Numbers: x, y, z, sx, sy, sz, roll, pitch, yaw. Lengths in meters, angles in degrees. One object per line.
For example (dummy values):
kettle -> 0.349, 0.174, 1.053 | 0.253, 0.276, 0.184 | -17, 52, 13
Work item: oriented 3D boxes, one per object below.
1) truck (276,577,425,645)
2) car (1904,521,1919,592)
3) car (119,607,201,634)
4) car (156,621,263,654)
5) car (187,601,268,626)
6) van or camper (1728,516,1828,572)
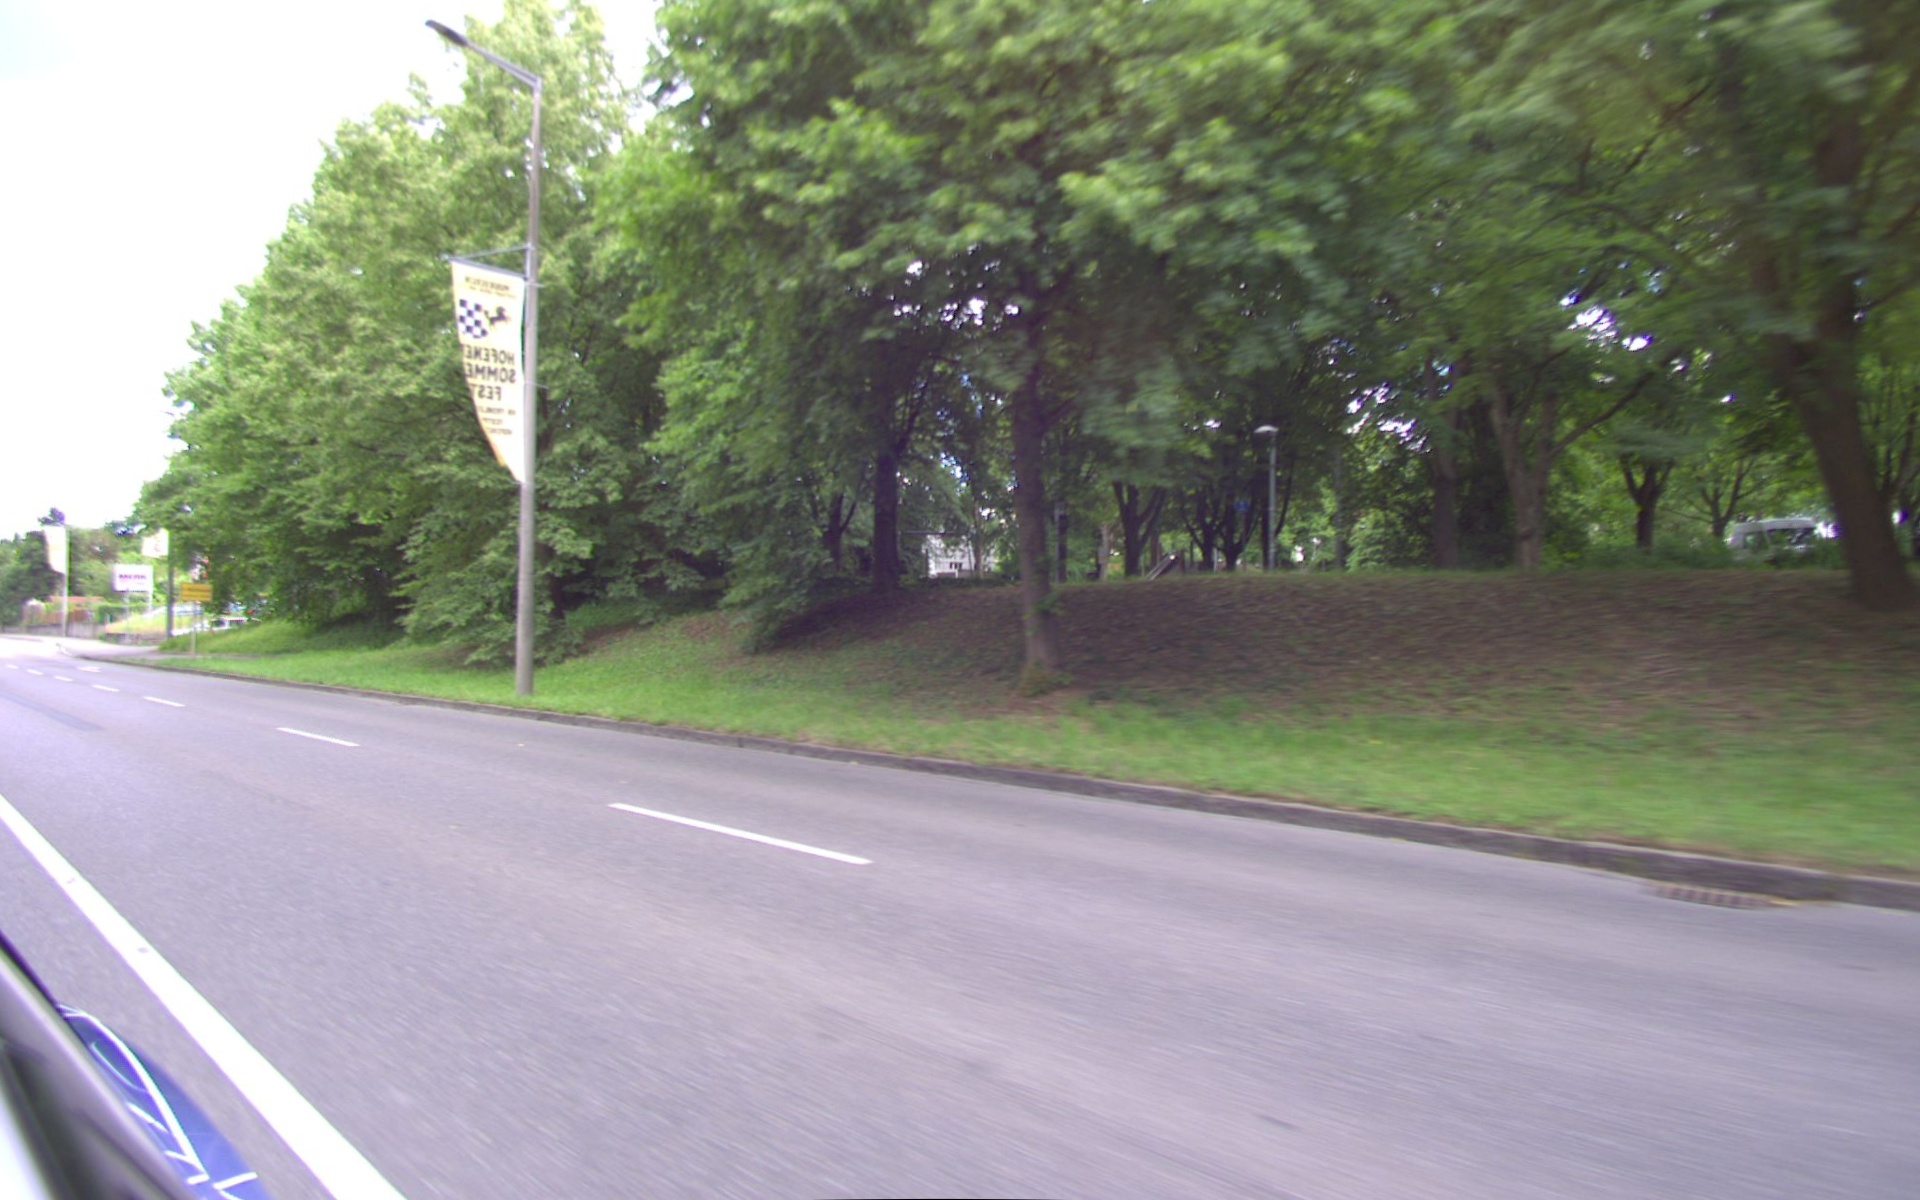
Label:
truck -> -34.734, 0.595, 57.889 | 2.657, 3.657, 6.835 | -1, 0, 41
car -> 26.486, -1.191, 25.348 | 1.981, 1.910, 4.883 | -1, 0, 14
car -> -51.572, 1.333, 65.296 | 1.878, 1.630, 3.855 | -1, 0, 41
car -> -38.968, 1.925, 52.609 | 1.746, 1.503, 4.169 | -3, -2, 37
car -> -47.003, 0.831, 64.973 | 1.734, 1.519, 3.946 | -1, 0, 41
van or camper -> 33.518, -2.239, 41.599 | 1.911, 2.029, 4.193 | -1, 0, 21
